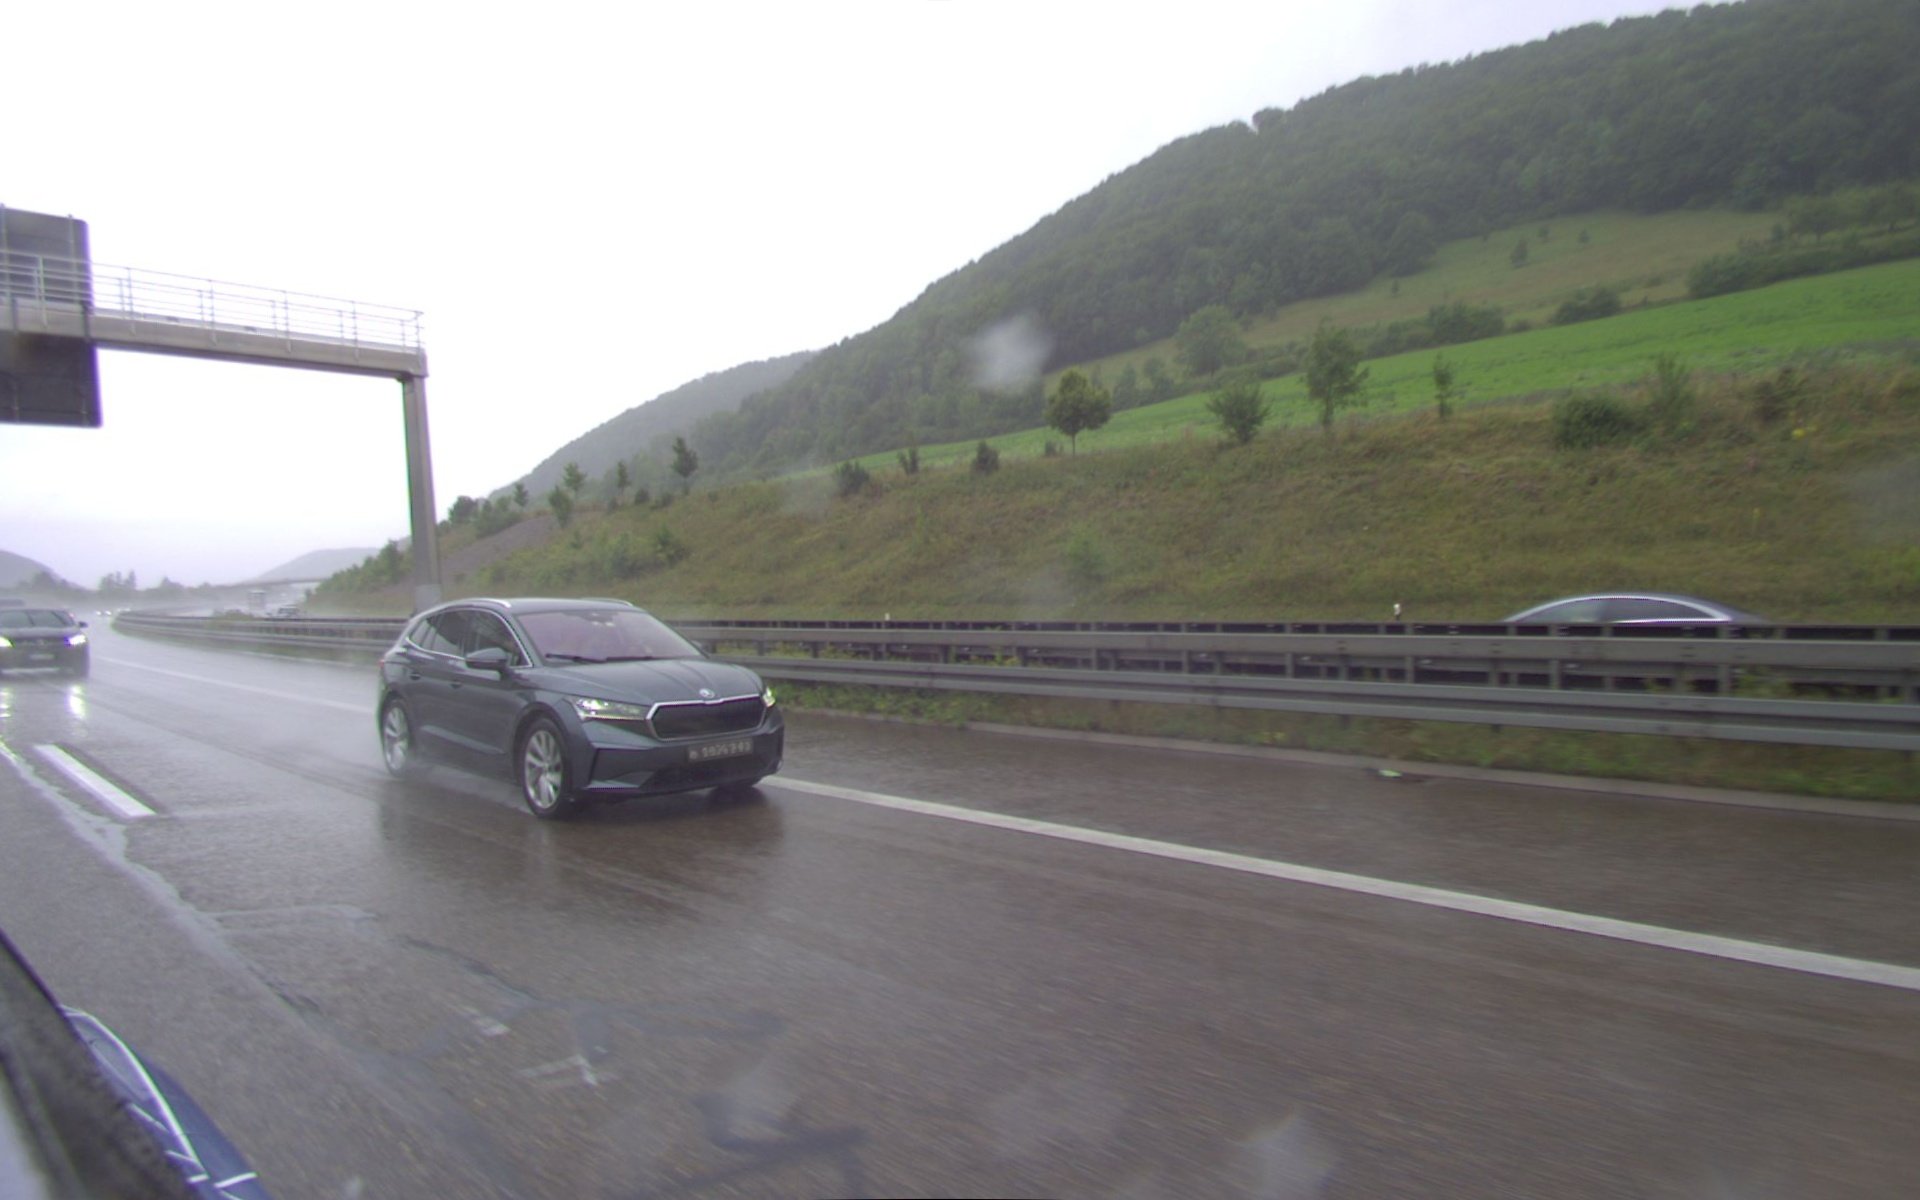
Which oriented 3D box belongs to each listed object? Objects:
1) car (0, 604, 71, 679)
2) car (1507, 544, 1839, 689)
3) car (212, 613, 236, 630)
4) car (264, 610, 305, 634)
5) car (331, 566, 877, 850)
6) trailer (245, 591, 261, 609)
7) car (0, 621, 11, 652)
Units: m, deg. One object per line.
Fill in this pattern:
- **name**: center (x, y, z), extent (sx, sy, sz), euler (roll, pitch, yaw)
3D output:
- **car**: center (-23.639, 0.995, 25.355), extent (1.789, 1.715, 3.751), euler (-2, 2, -45)
- **car**: center (10.062, 0.236, 14.431), extent (3.681, 1.807, 1.661), euler (-1, -1, 41)
- **car**: center (-73.536, 2.137, 101.124), extent (1.685, 1.660, 4.007), euler (-1, 0, -39)
- **car**: center (-49.946, 1.620, 74.778), extent (4.002, 1.704, 1.756), euler (-1, 0, 45)
- **car**: center (-3.146, 0.679, 8.371), extent (4.903, 1.696, 1.974), euler (-1, -1, 39)
- **trailer**: center (-156.866, 0.013, 224.659), extent (2.775, 3.709, 13.280), euler (-1, 0, -35)
- **car**: center (-66.106, 2.524, 68.856), extent (3.933, 2.029, 1.961), euler (-2, -1, 43)
